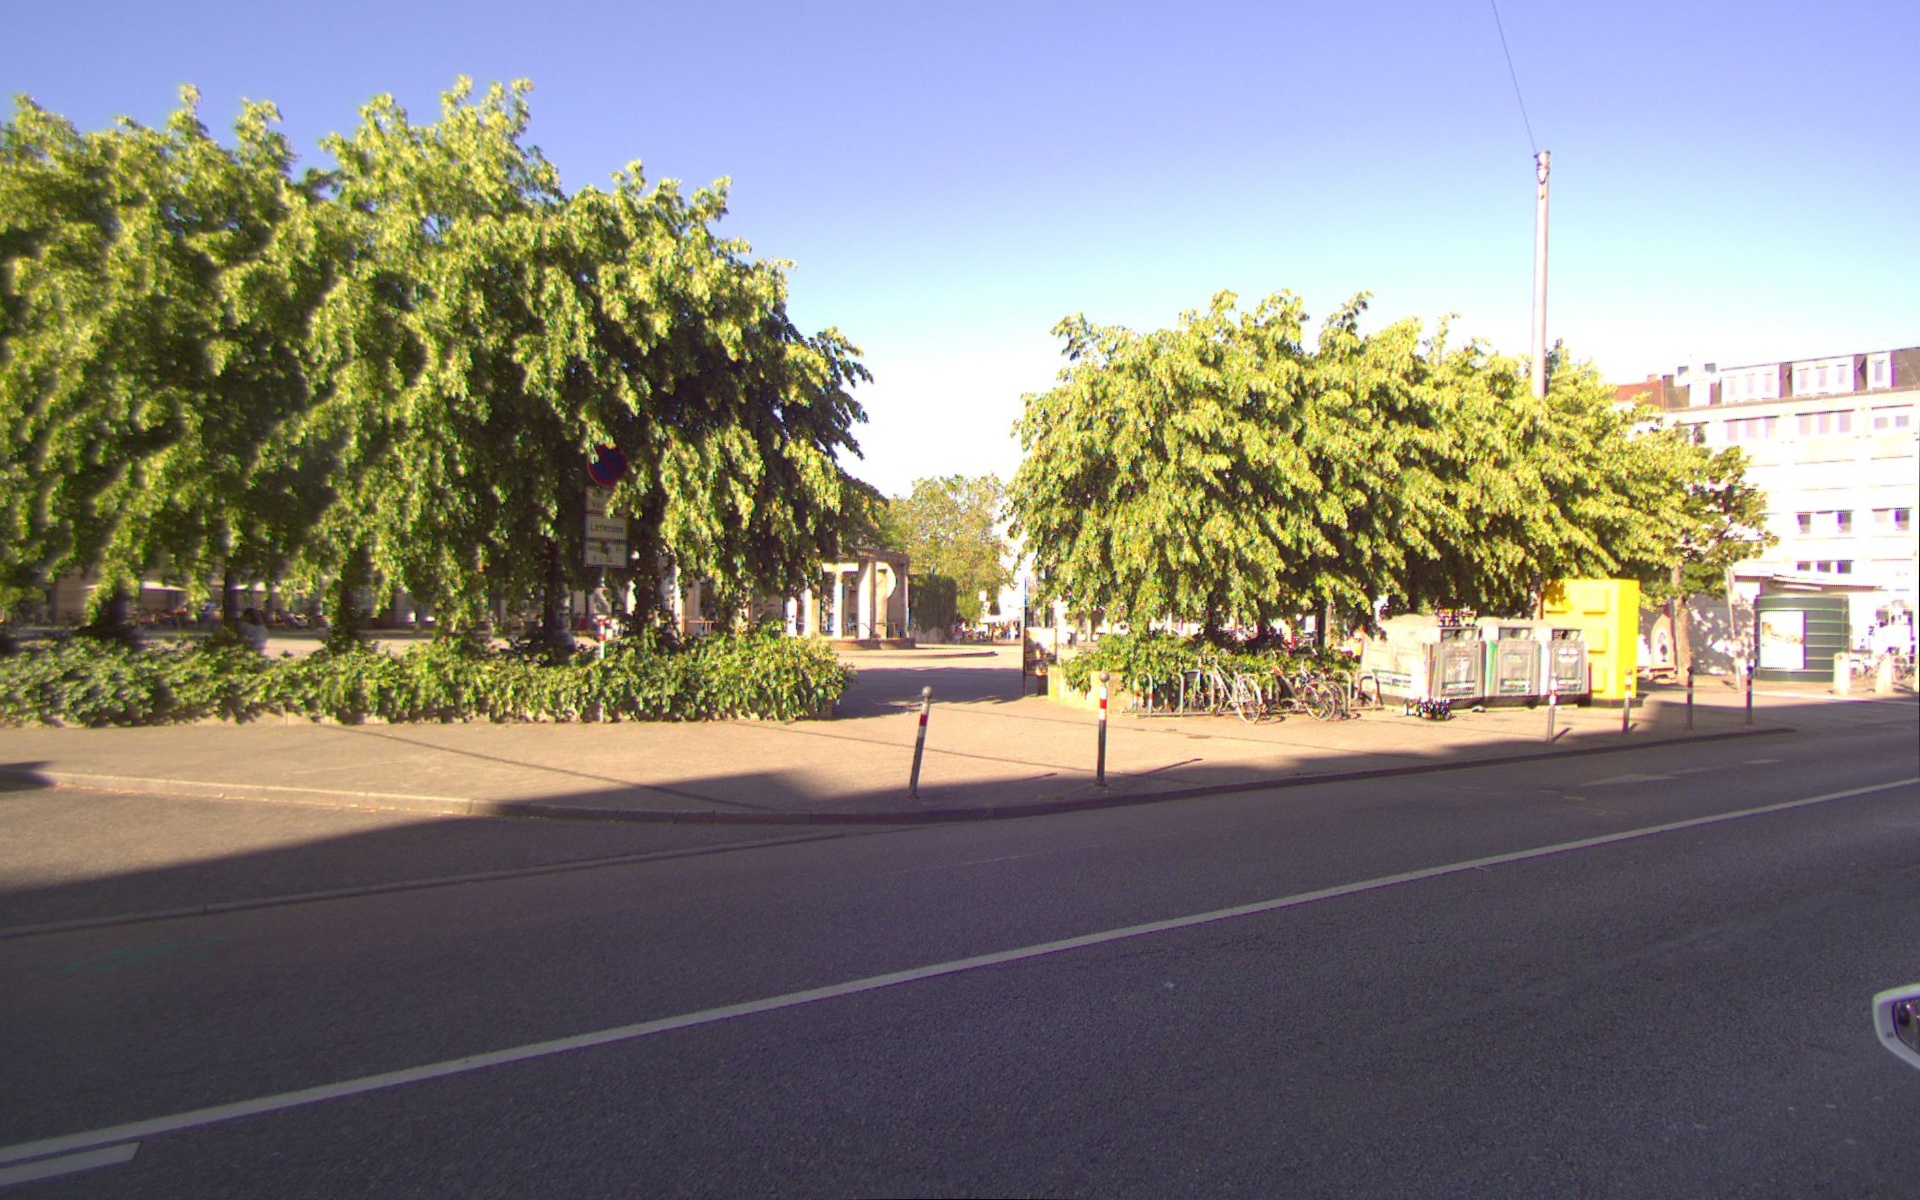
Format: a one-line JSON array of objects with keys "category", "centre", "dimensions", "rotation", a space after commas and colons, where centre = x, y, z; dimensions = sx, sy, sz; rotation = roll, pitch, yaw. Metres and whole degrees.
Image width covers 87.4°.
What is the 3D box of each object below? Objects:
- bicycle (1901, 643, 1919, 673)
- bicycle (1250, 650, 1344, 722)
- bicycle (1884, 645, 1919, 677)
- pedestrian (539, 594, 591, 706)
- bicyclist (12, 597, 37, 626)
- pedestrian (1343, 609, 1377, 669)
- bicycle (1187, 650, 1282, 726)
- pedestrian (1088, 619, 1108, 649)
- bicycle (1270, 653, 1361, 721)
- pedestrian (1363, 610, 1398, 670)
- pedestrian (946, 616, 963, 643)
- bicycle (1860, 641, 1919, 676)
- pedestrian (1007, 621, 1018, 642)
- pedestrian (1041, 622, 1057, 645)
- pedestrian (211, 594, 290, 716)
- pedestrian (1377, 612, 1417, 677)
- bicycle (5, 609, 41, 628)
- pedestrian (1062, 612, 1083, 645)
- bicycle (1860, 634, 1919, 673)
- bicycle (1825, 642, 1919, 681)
[{"category": "bicycle", "centre": [38.682, 2.315, 39.513], "dimensions": [0.834, 1.171, 2.308], "rotation": [1, -1, -34]}, {"category": "bicycle", "centre": [5.389, 1.358, 16.135], "dimensions": [0.425, 1.036, 1.561], "rotation": [1, -1, -28]}, {"category": "bicycle", "centre": [36.758, 2.328, 38.034], "dimensions": [0.834, 1.171, 2.517], "rotation": [1, -1, -34]}, {"category": "pedestrian", "centre": [-6.500, 0.814, 16.548], "dimensions": [0.725, 1.781, 0.895], "rotation": [1, -1, -19]}, {"category": "bicyclist", "centre": [-47.667, 0.573, 51.177], "dimensions": [0.663, 1.447, 0.696], "rotation": [1, -1, -18]}, {"category": "pedestrian", "centre": [14.009, 1.357, 35.203], "dimensions": [0.886, 2.040, 0.993], "rotation": [1, 0, 7]}, {"category": "bicycle", "centre": [4.220, 1.325, 15.551], "dimensions": [0.425, 1.031, 1.590], "rotation": [1, 0, -28]}, {"category": "pedestrian", "centre": [9.560, 2.323, 69.697], "dimensions": [0.890, 2.040, 1.280], "rotation": [1, -1, -18]}, {"category": "bicycle", "centre": [5.798, 1.400, 16.457], "dimensions": [0.425, 0.971, 1.518], "rotation": [0, 0, -28]}, {"category": "pedestrian", "centre": [14.692, 1.378, 35.119], "dimensions": [0.886, 2.040, 0.993], "rotation": [1, 0, 7]}, {"category": "pedestrian", "centre": [-0.451, 2.278, 78.310], "dimensions": [0.807, 2.040, 1.043], "rotation": [1, -1, -40]}, {"category": "bicycle", "centre": [33.124, 2.038, 35.038], "dimensions": [0.833, 1.171, 2.449], "rotation": [1, -1, -31]}, {"category": "pedestrian", "centre": [5.190, 3.101, 98.720], "dimensions": [0.887, 2.040, 1.284], "rotation": [1, -1, -4]}, {"category": "pedestrian", "centre": [8.368, 3.151, 94.661], "dimensions": [1.252, 2.040, 1.285], "rotation": [1, -1, -4]}, {"category": "pedestrian", "centre": [-10.748, 0.816, 15.243], "dimensions": [0.725, 1.781, 0.895], "rotation": [1, -1, -19]}, {"category": "pedestrian", "centre": [13.932, 1.410, 32.049], "dimensions": [0.886, 2.040, 0.993], "rotation": [1, 0, 7]}, {"category": "bicycle", "centre": [-47.671, 0.934, 51.127], "dimensions": [0.580, 0.966, 1.899], "rotation": [1, -1, -17]}, {"category": "pedestrian", "centre": [7.113, 1.807, 63.514], "dimensions": [0.892, 2.040, 0.986], "rotation": [1, -1, -26]}, {"category": "bicycle", "centre": [34.485, 1.944, 36.527], "dimensions": [0.913, 1.341, 2.461], "rotation": [1, -1, -35]}, {"category": "bicycle", "centre": [30.909, 2.057, 33.873], "dimensions": [0.833, 1.171, 2.493], "rotation": [1, -1, -31]}]
